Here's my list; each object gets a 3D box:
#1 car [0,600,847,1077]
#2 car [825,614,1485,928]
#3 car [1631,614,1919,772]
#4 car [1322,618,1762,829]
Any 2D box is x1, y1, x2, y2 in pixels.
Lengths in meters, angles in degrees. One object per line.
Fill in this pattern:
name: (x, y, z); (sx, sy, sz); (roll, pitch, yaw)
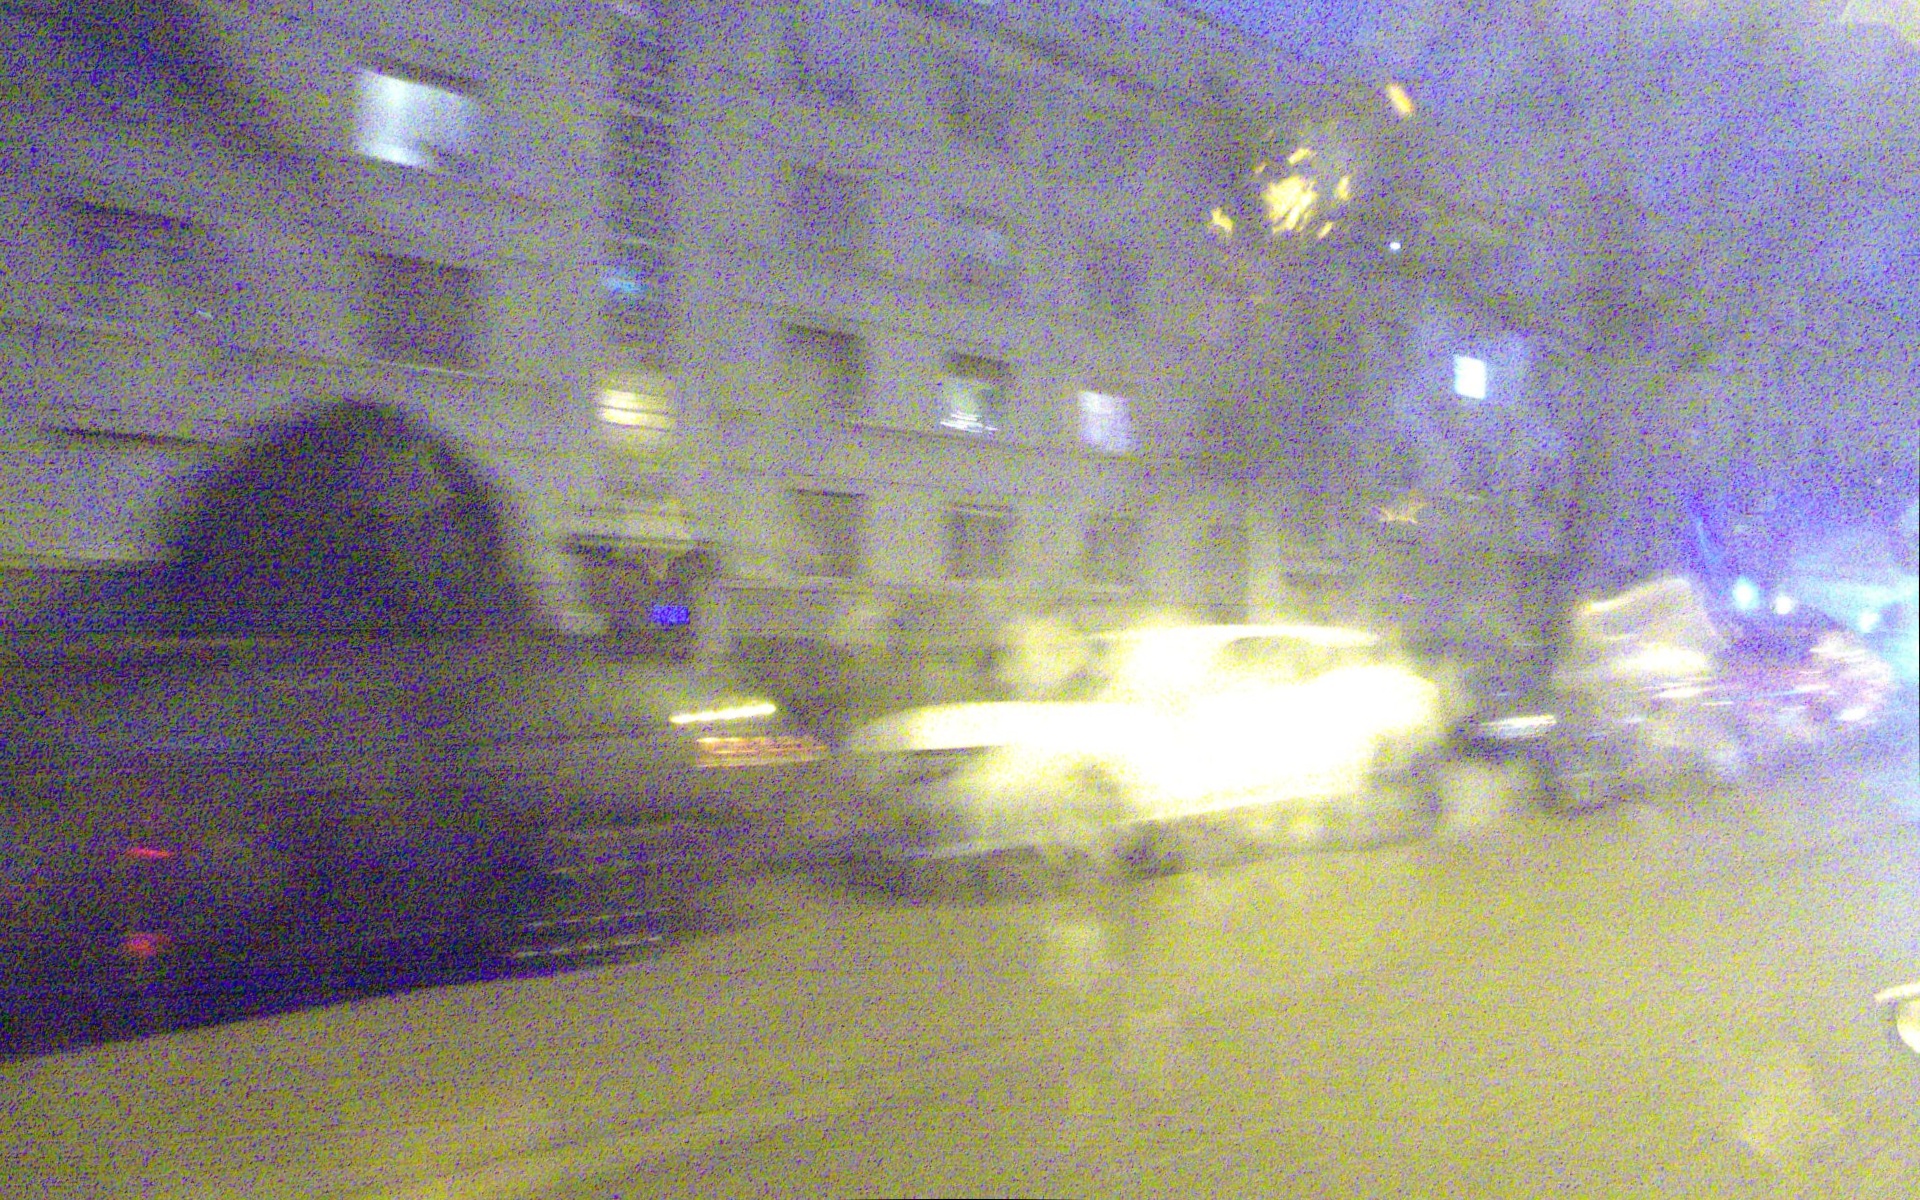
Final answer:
car: (-2.824, 0.835, 4.506); (4.343, 1.560, 1.657); (1, -3, -33)
car: (1.423, 0.944, 6.828); (4.338, 1.559, 1.659); (1, -5, -29)
car: (10.179, 1.073, 12.314); (4.347, 1.618, 1.736); (1, -5, -35)
car: (5.497, 1.016, 9.334); (4.342, 1.559, 1.657); (1, -5, -32)
